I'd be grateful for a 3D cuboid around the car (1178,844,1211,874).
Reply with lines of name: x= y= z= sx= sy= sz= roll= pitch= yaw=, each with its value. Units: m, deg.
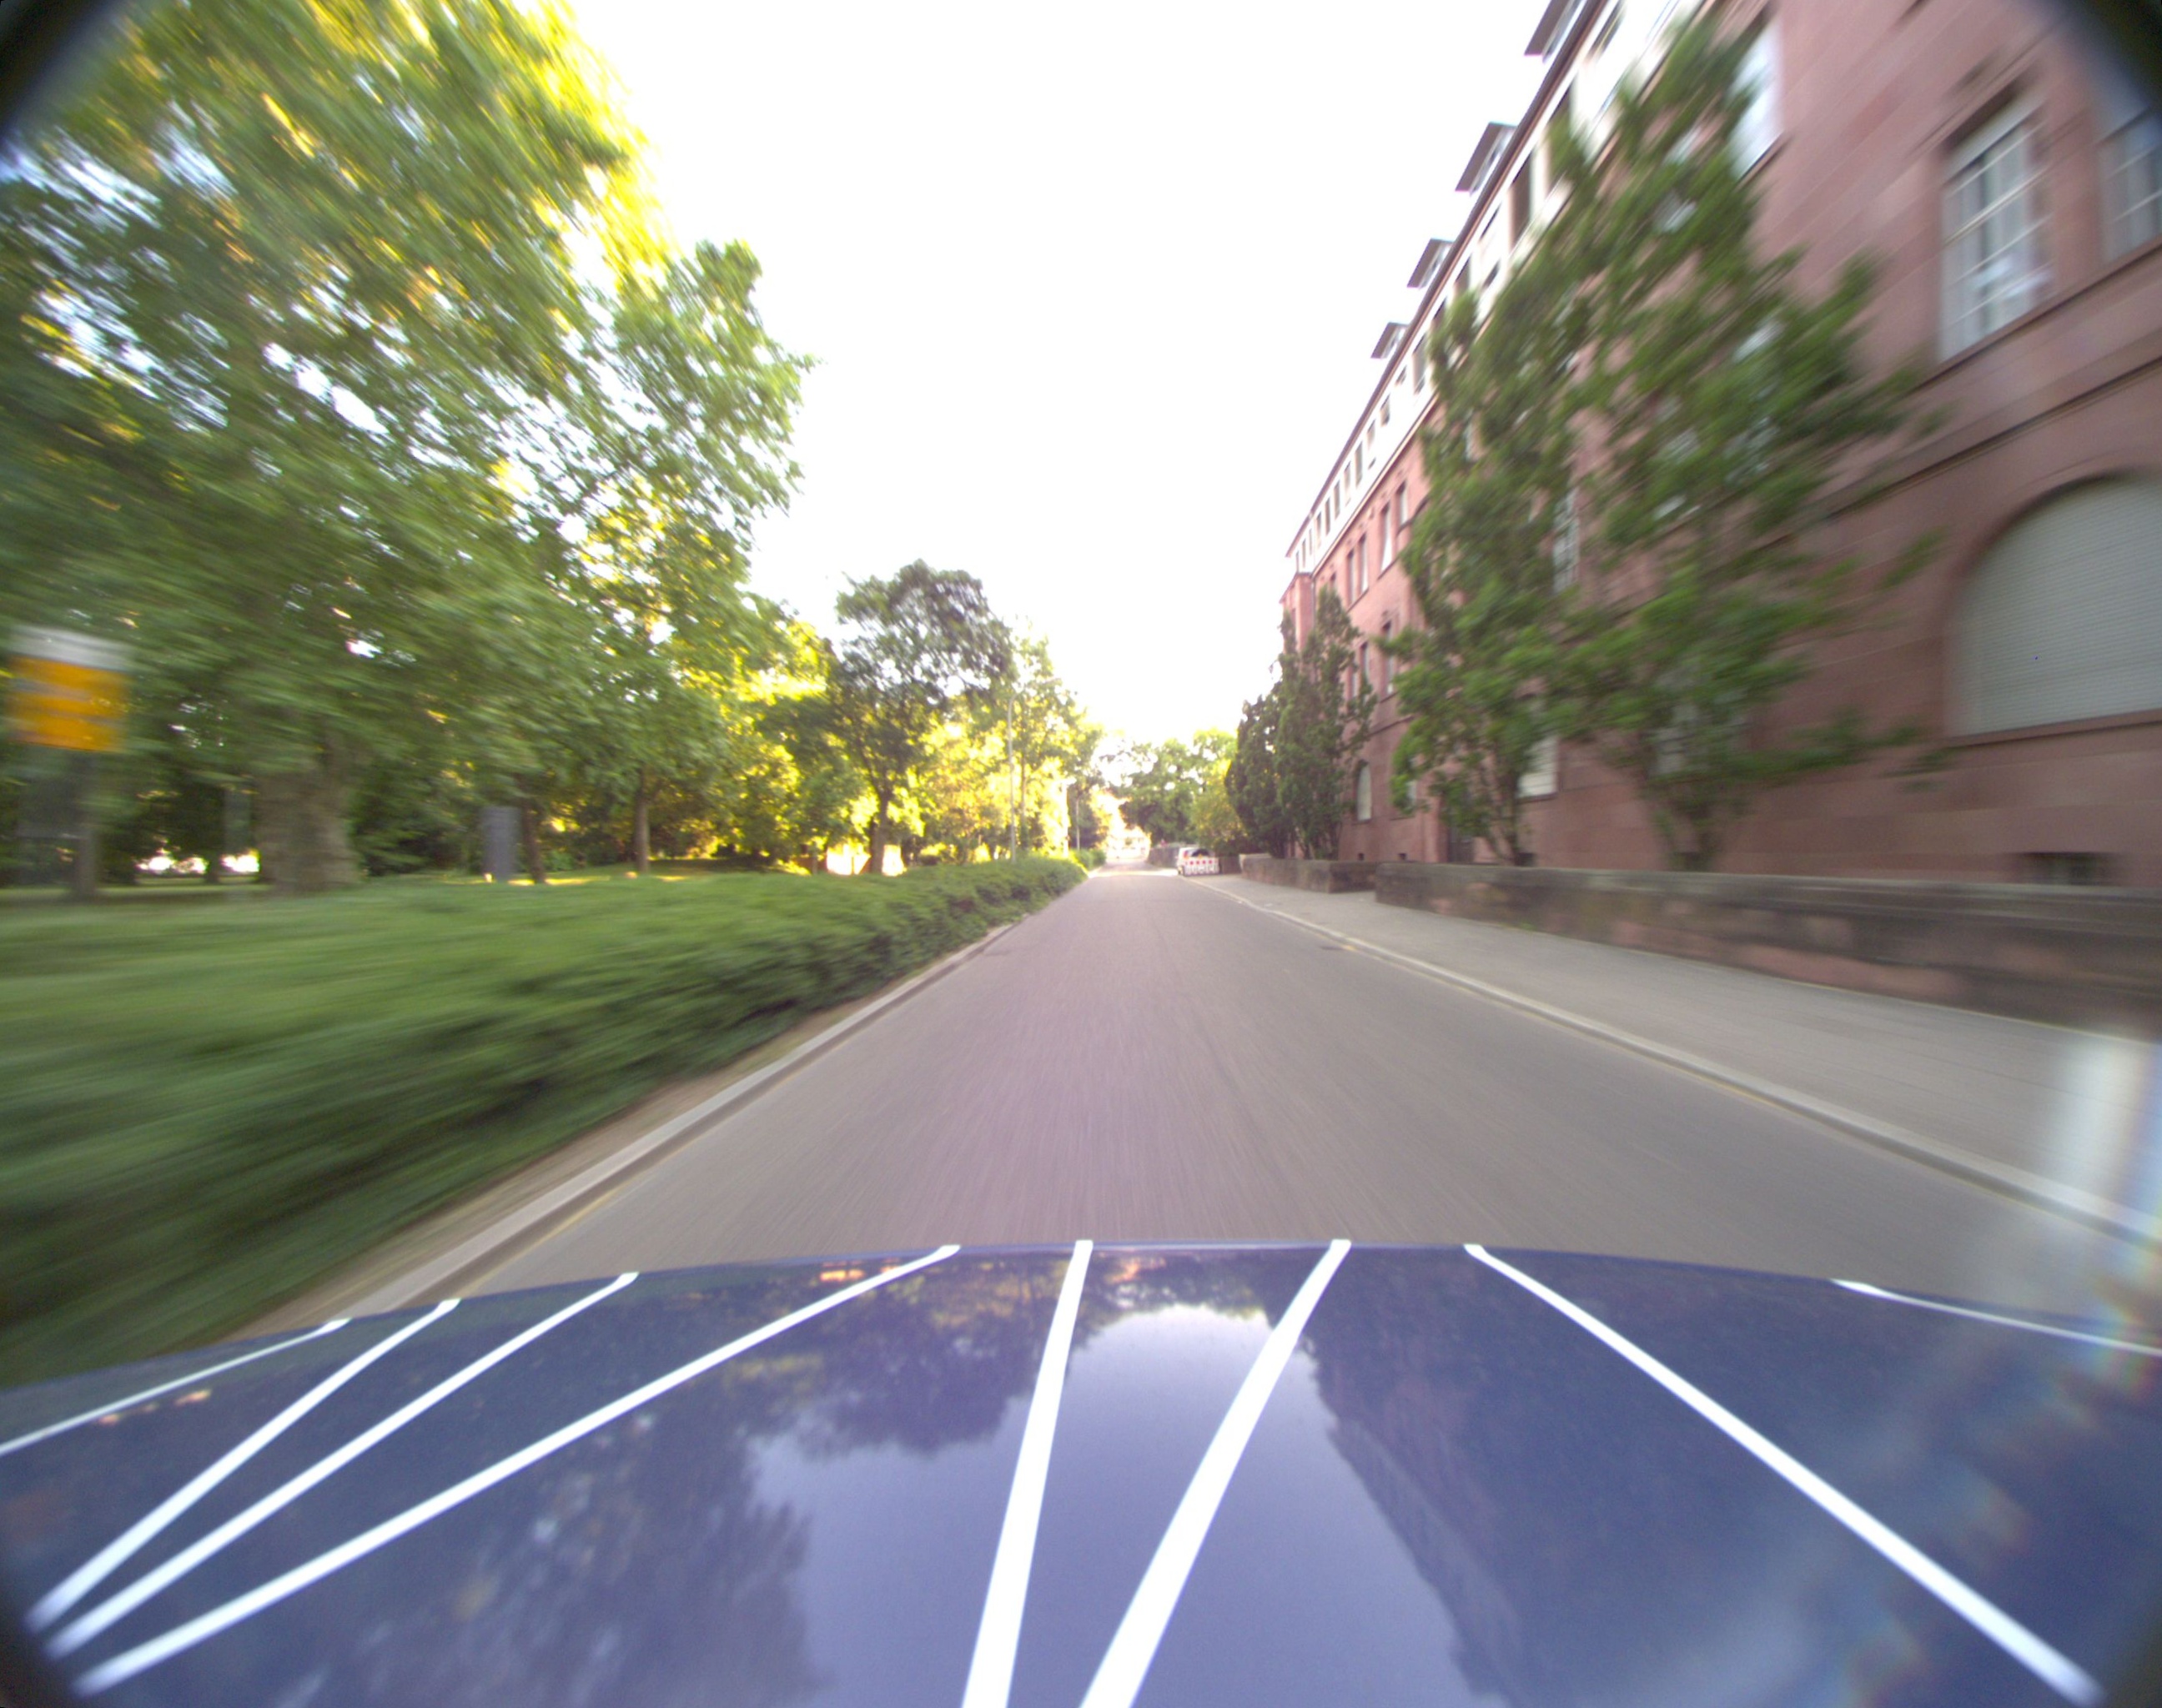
car: x=7.956 y=0.313 z=53.719 sx=1.886 sy=2.040 sz=4.325 roll=0 pitch=2 yaw=3
